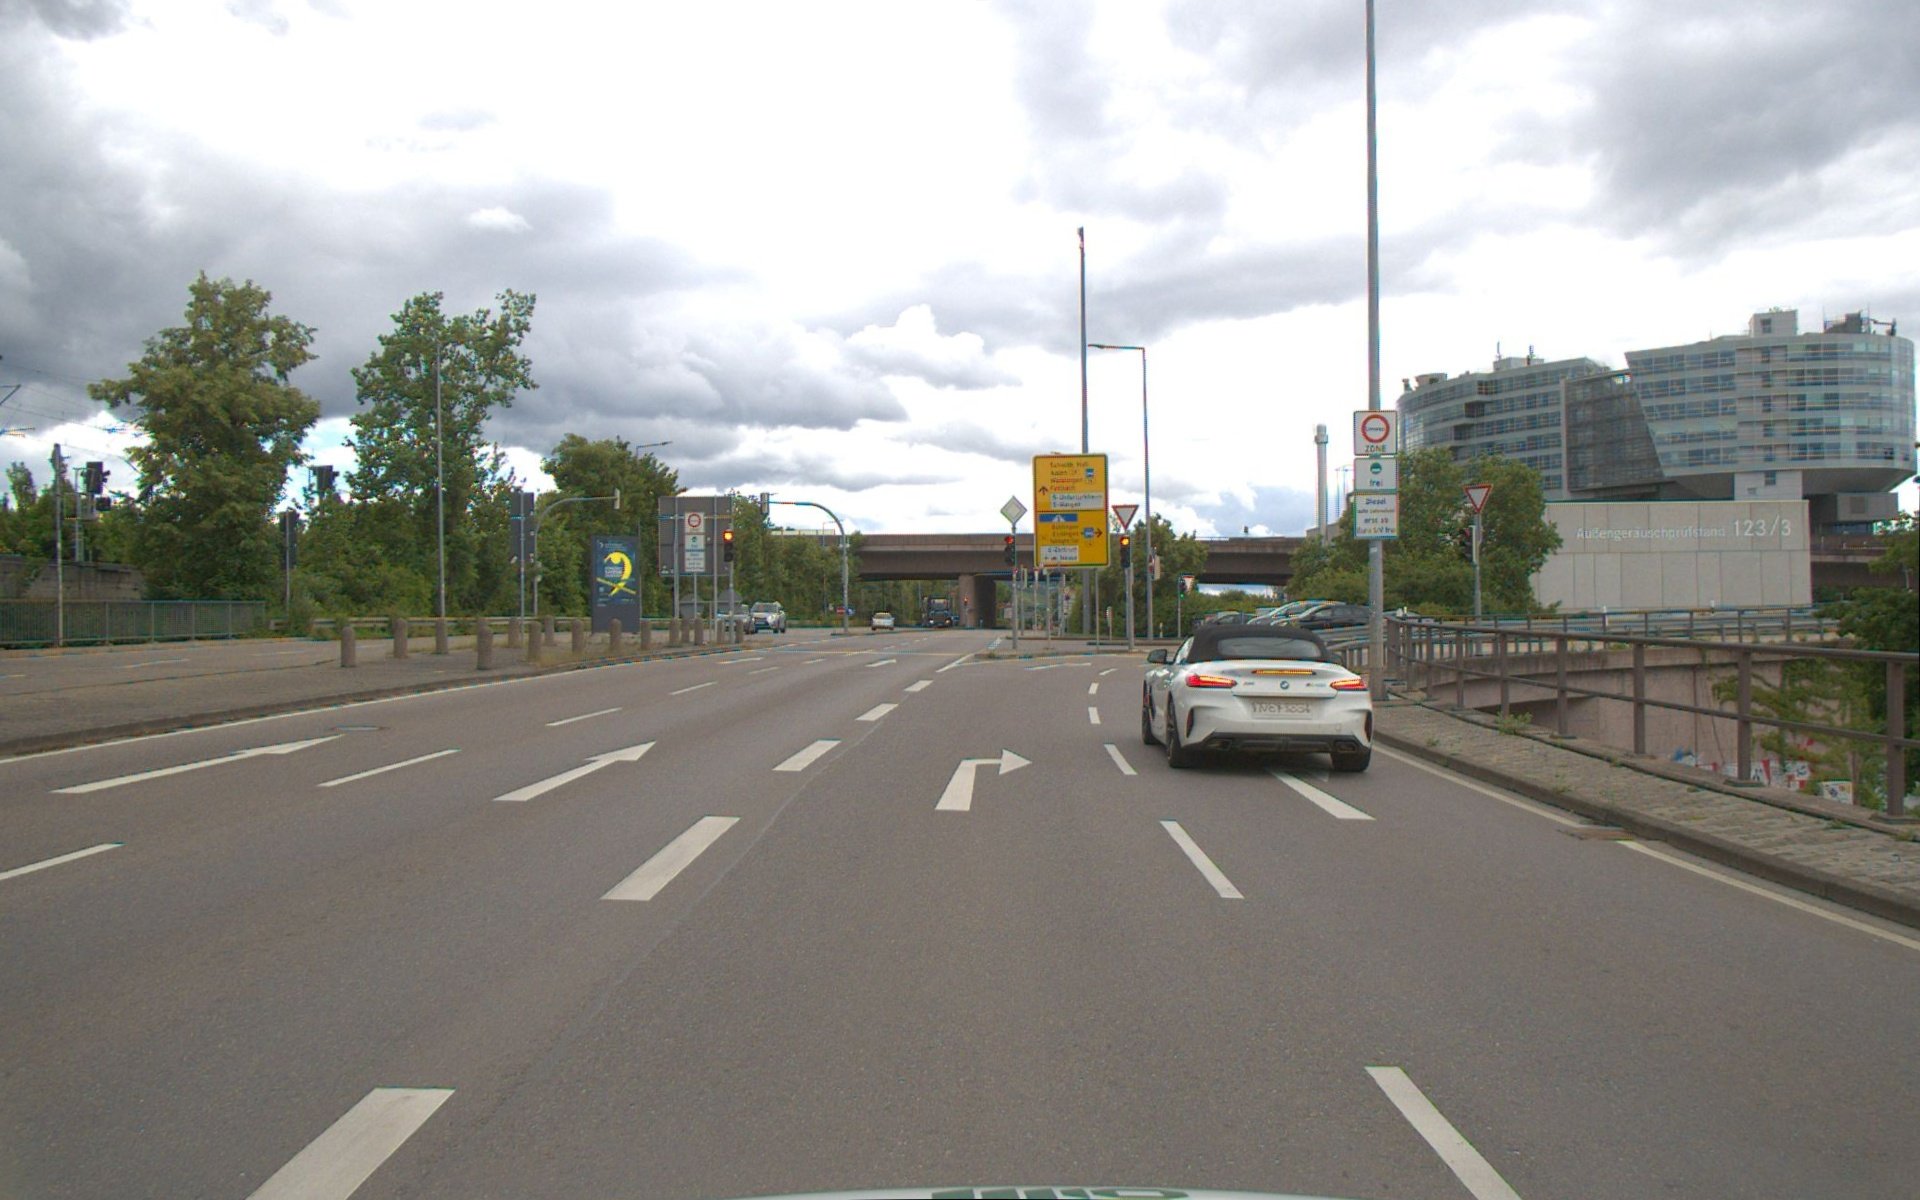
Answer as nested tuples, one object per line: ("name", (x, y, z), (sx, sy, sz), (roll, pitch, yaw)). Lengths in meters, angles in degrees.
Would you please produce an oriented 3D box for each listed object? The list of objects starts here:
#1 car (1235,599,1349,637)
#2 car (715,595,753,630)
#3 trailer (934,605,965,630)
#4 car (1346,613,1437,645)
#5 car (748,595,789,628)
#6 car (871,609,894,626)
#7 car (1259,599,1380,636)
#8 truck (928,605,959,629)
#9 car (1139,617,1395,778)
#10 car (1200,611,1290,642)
("car", (14.357, 0.749, 71.658), (4.582, 1.599, 1.956), (0, 0, 0))
("car", (-11.128, 0.639, 81.633), (1.691, 1.487, 4.237), (2, -3, -6))
("trailer", (-1.229, 2.104, 199.178), (2.546, 2.669, 8.575), (4, 0, 7))
("car", (20.944, 1.424, 80.226), (4.014, 1.467, 1.999), (0, -3, 24))
("car", (-10.414, 0.619, 90.176), (1.689, 1.767, 4.555), (0, 0, -1))
("car", (-6.460, 1.470, 138.737), (1.689, 1.425, 4.067), (0, 0, 1))
("car", (14.744, 0.724, 67.889), (4.513, 1.483, 1.955), (0, 0, -3))
("truck", (-1.917, 1.985, 193.773), (2.557, 2.669, 5.784), (4, 0, 9))
("car", (2.887, 0.869, 16.454), (1.768, 1.314, 4.263), (1, 0, 0))
("car", (14.391, 1.326, 83.529), (4.018, 1.490, 1.997), (0, -3, 29))
